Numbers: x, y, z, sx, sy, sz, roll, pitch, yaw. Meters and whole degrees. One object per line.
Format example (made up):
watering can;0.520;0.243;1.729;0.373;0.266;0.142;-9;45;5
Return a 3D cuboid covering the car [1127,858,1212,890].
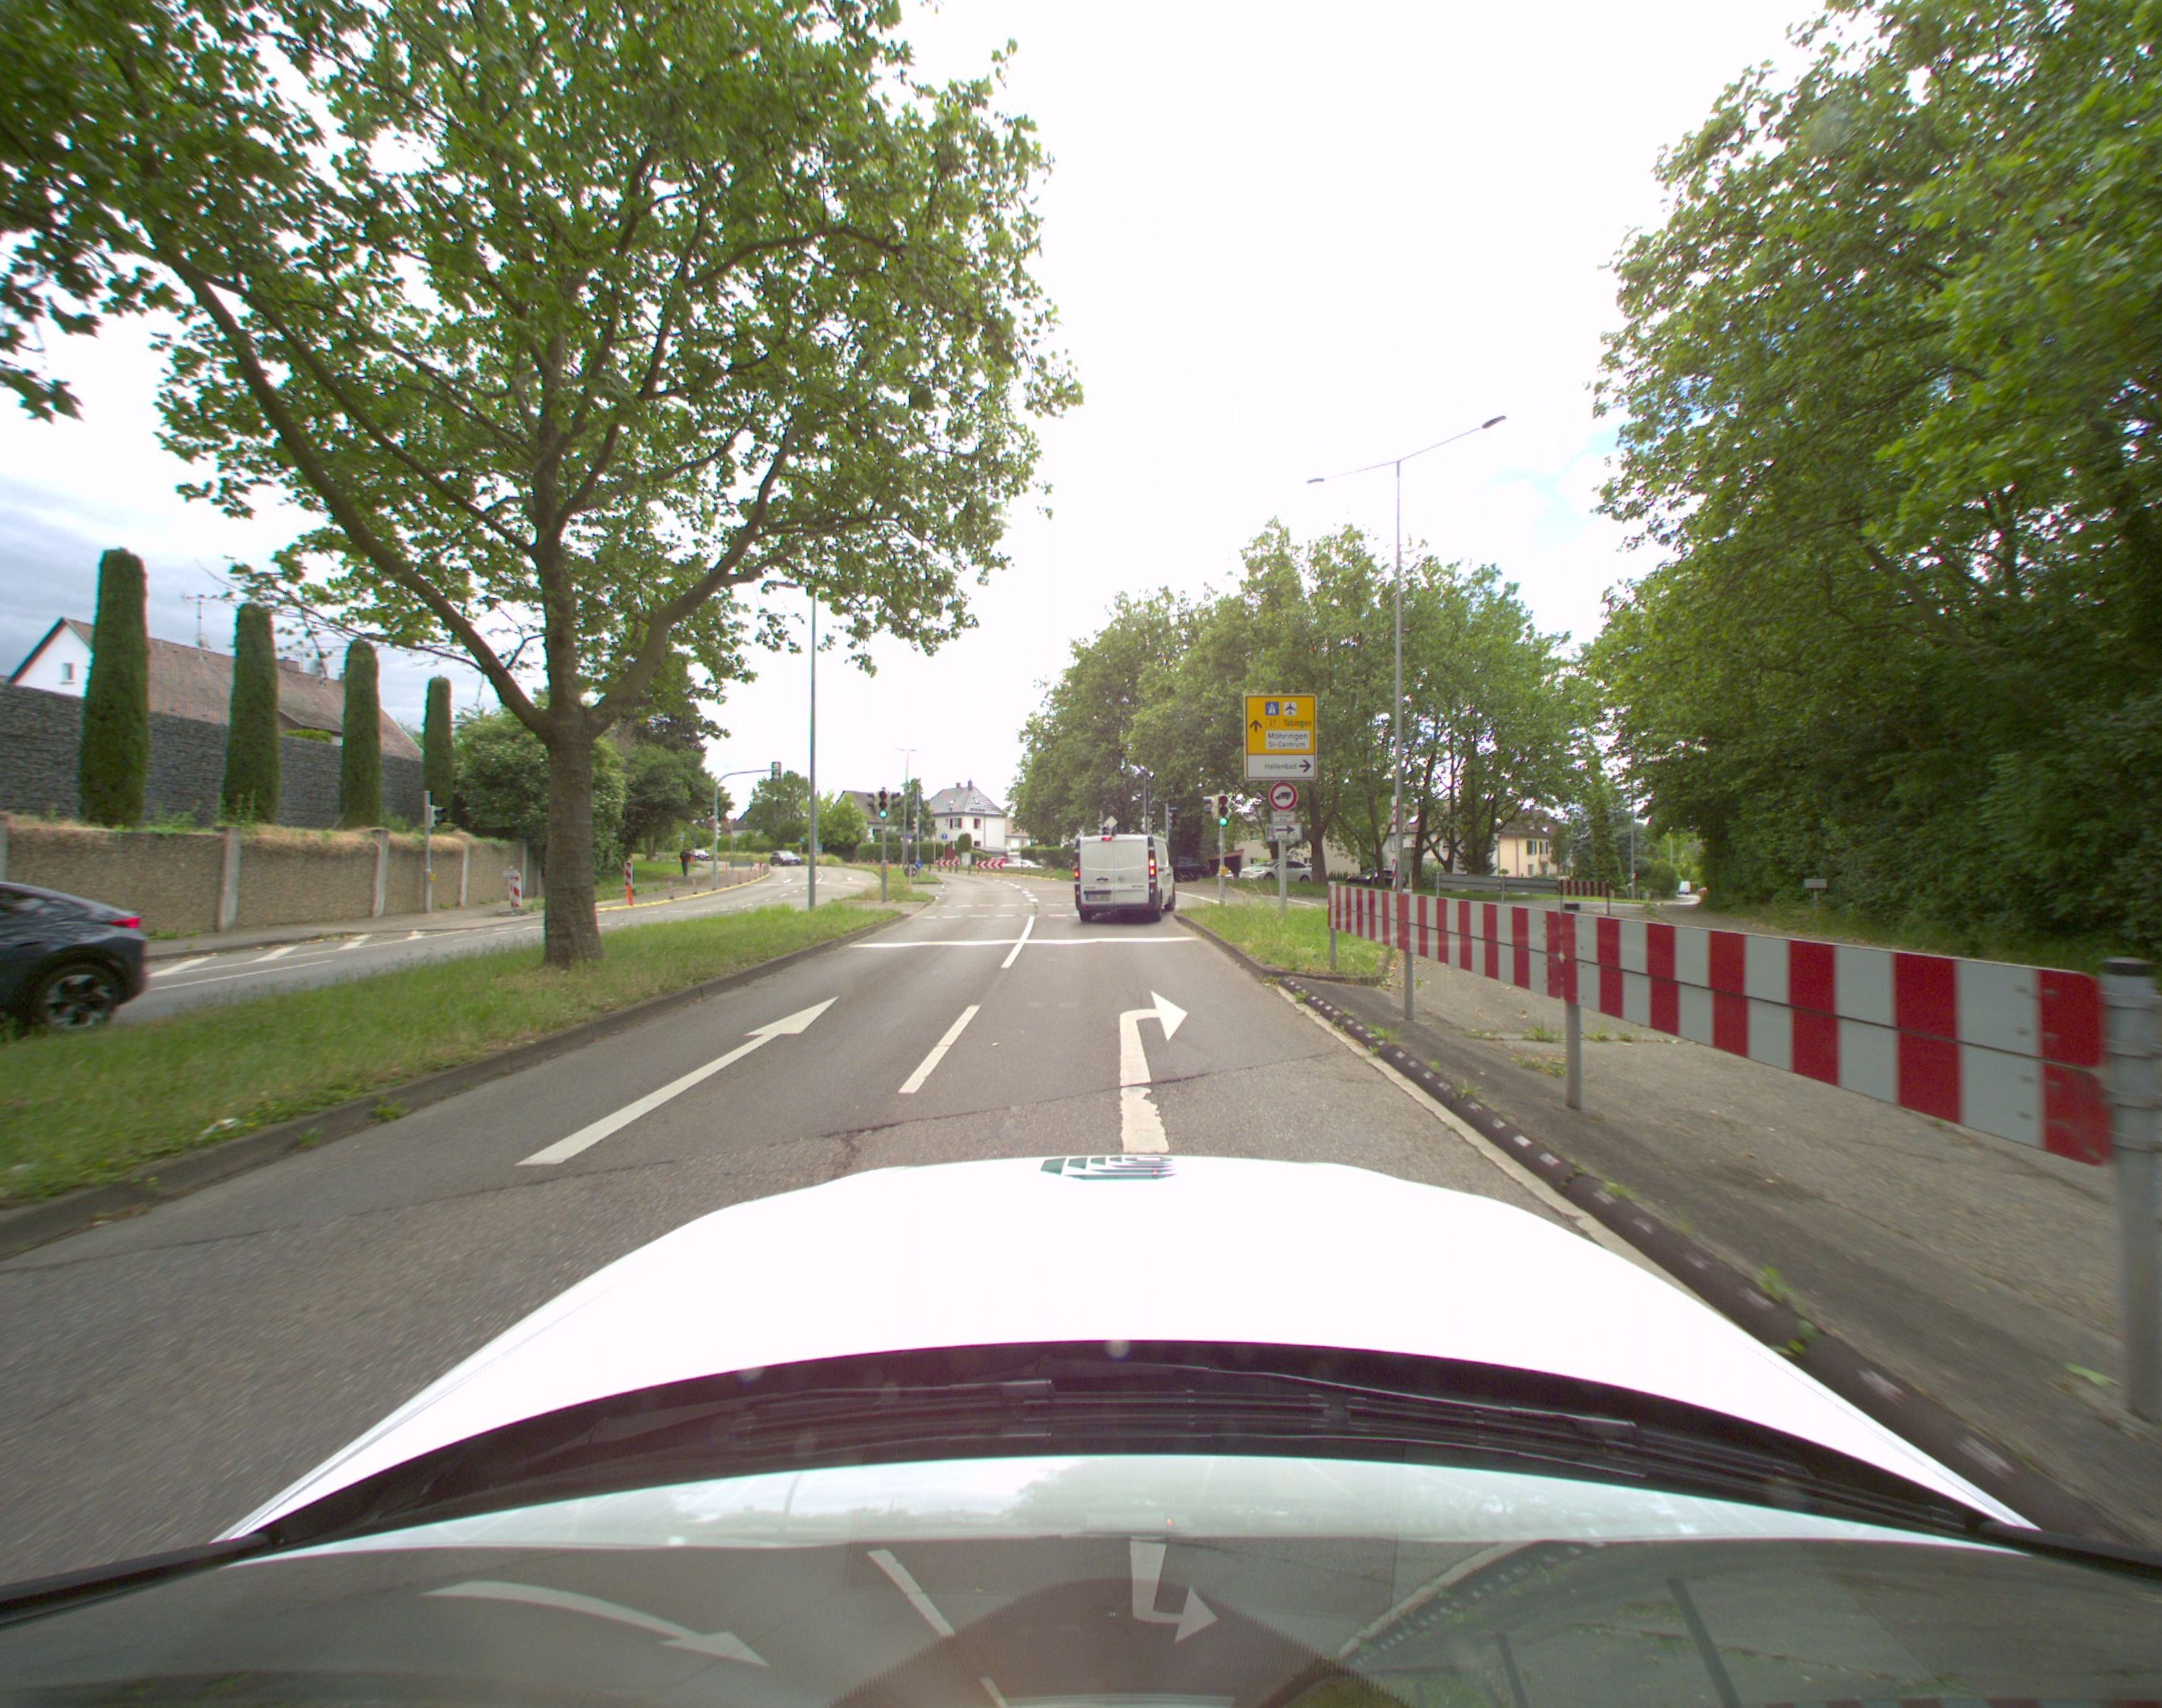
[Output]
car;4.764;1.078;43.681;4.403;1.517;1.744;3;-2;-34

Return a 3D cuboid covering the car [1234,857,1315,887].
car;11.433;1.033;47.939;4.926;1.658;1.838;0;0;-34

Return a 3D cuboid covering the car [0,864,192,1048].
car;-10.422;0.941;6.490;1.788;1.615;4.581;-2;0;-4

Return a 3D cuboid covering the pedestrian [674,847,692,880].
pedestrian;-24.502;0.570;50.172;0.954;2.014;0.848;1;0;-24

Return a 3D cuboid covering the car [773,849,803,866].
car;-29.171;0.354;81.059;1.853;1.631;4.216;-1;1;-34

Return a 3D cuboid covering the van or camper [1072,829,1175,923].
van or camper;1.173;0.474;19.883;1.912;2.014;4.842;0;0;10

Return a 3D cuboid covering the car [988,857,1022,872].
car;-8.413;1.165;90.160;1.589;1.517;3.848;1;-2;34

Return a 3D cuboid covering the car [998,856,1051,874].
car;-5.689;1.093;82.454;4.823;1.791;2.229;0;-1;25
